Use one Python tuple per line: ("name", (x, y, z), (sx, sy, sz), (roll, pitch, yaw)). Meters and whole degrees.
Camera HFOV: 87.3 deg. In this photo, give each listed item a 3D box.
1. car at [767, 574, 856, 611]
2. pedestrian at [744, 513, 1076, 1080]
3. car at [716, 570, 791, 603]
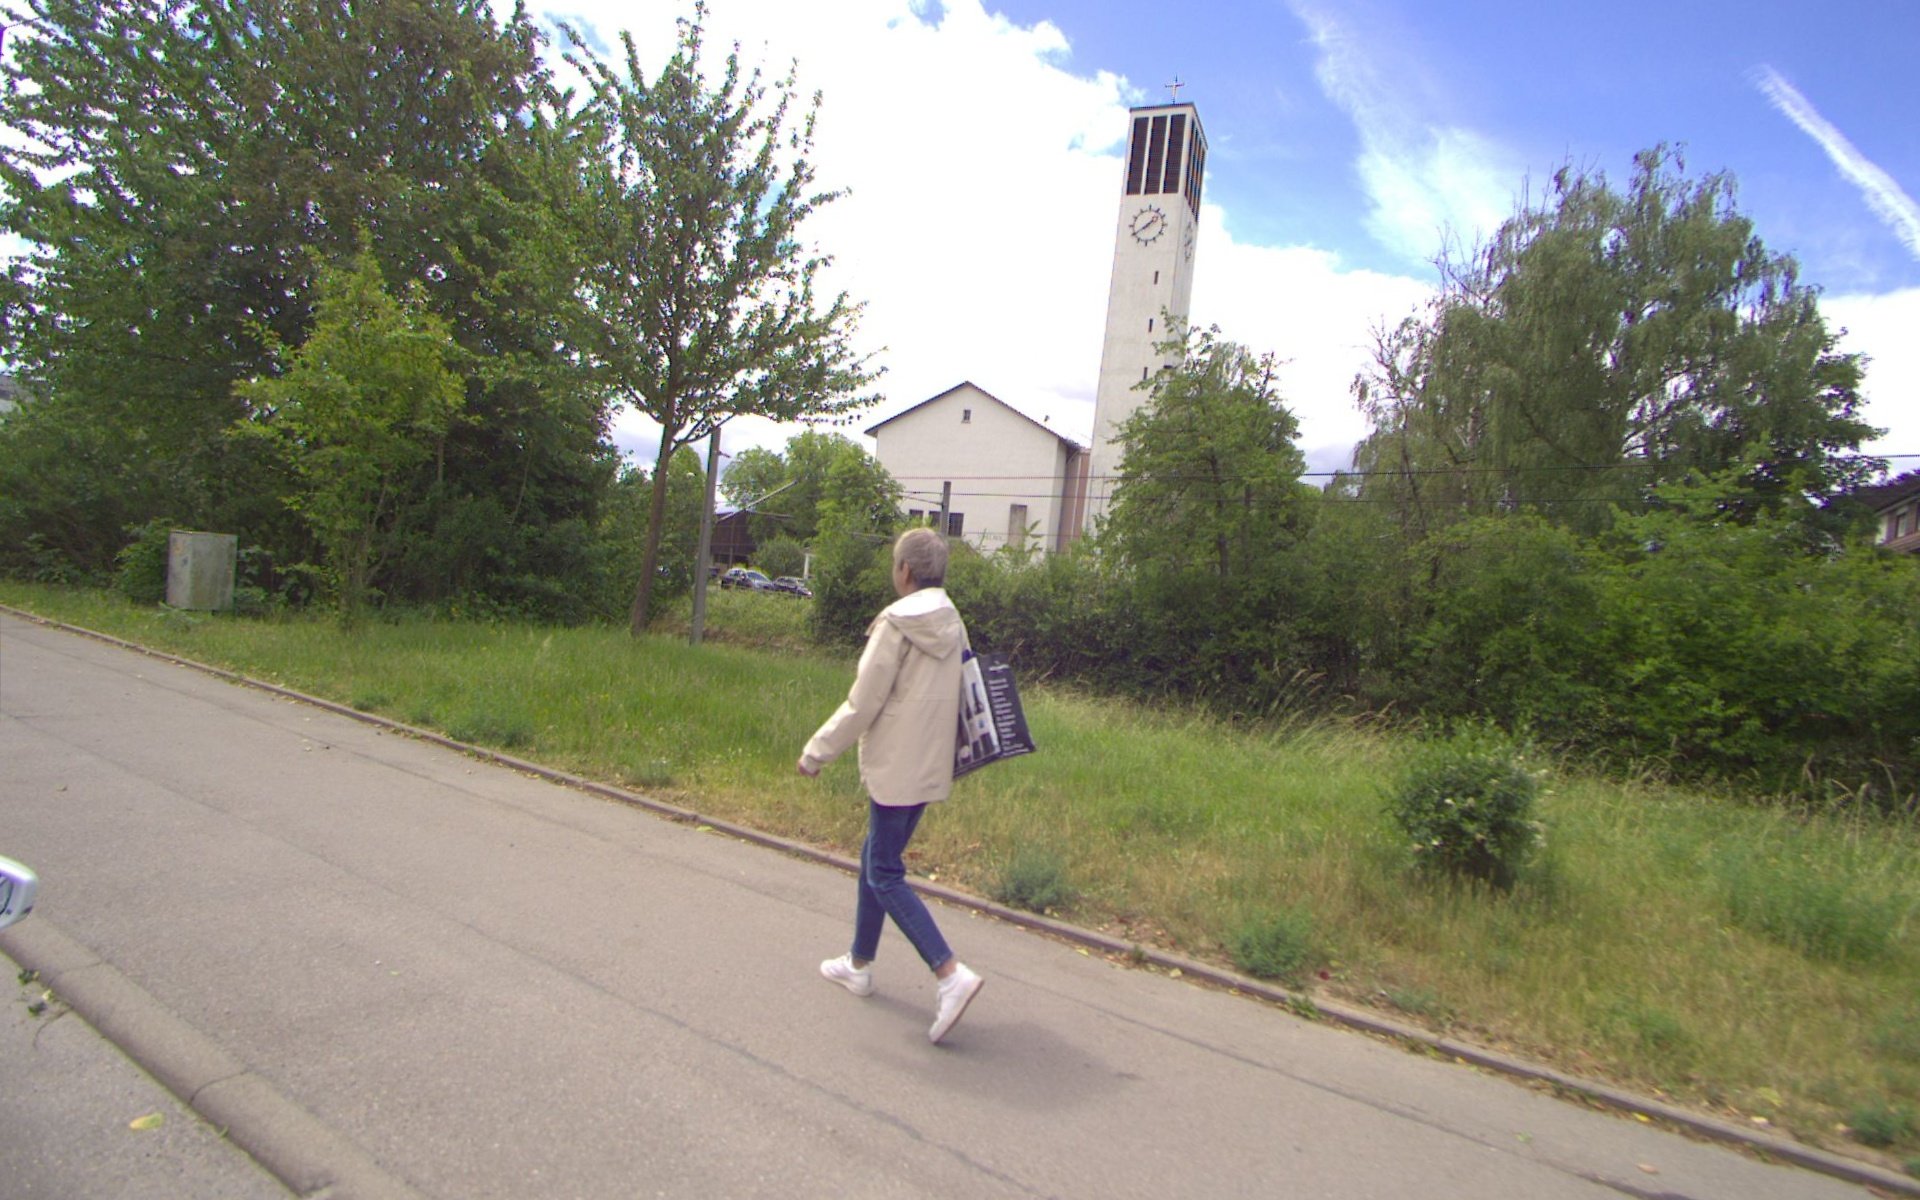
("car", (-7.442, -0.373, 50.172), (1.986, 1.349, 4.765), (5, 1, -43))
("pedestrian", (-0.161, 0.602, 3.483), (0.679, 1.679, 0.686), (7, 0, 36))
("car", (-11.261, -0.743, 54.655), (1.985, 1.349, 4.426), (5, 1, -41))
